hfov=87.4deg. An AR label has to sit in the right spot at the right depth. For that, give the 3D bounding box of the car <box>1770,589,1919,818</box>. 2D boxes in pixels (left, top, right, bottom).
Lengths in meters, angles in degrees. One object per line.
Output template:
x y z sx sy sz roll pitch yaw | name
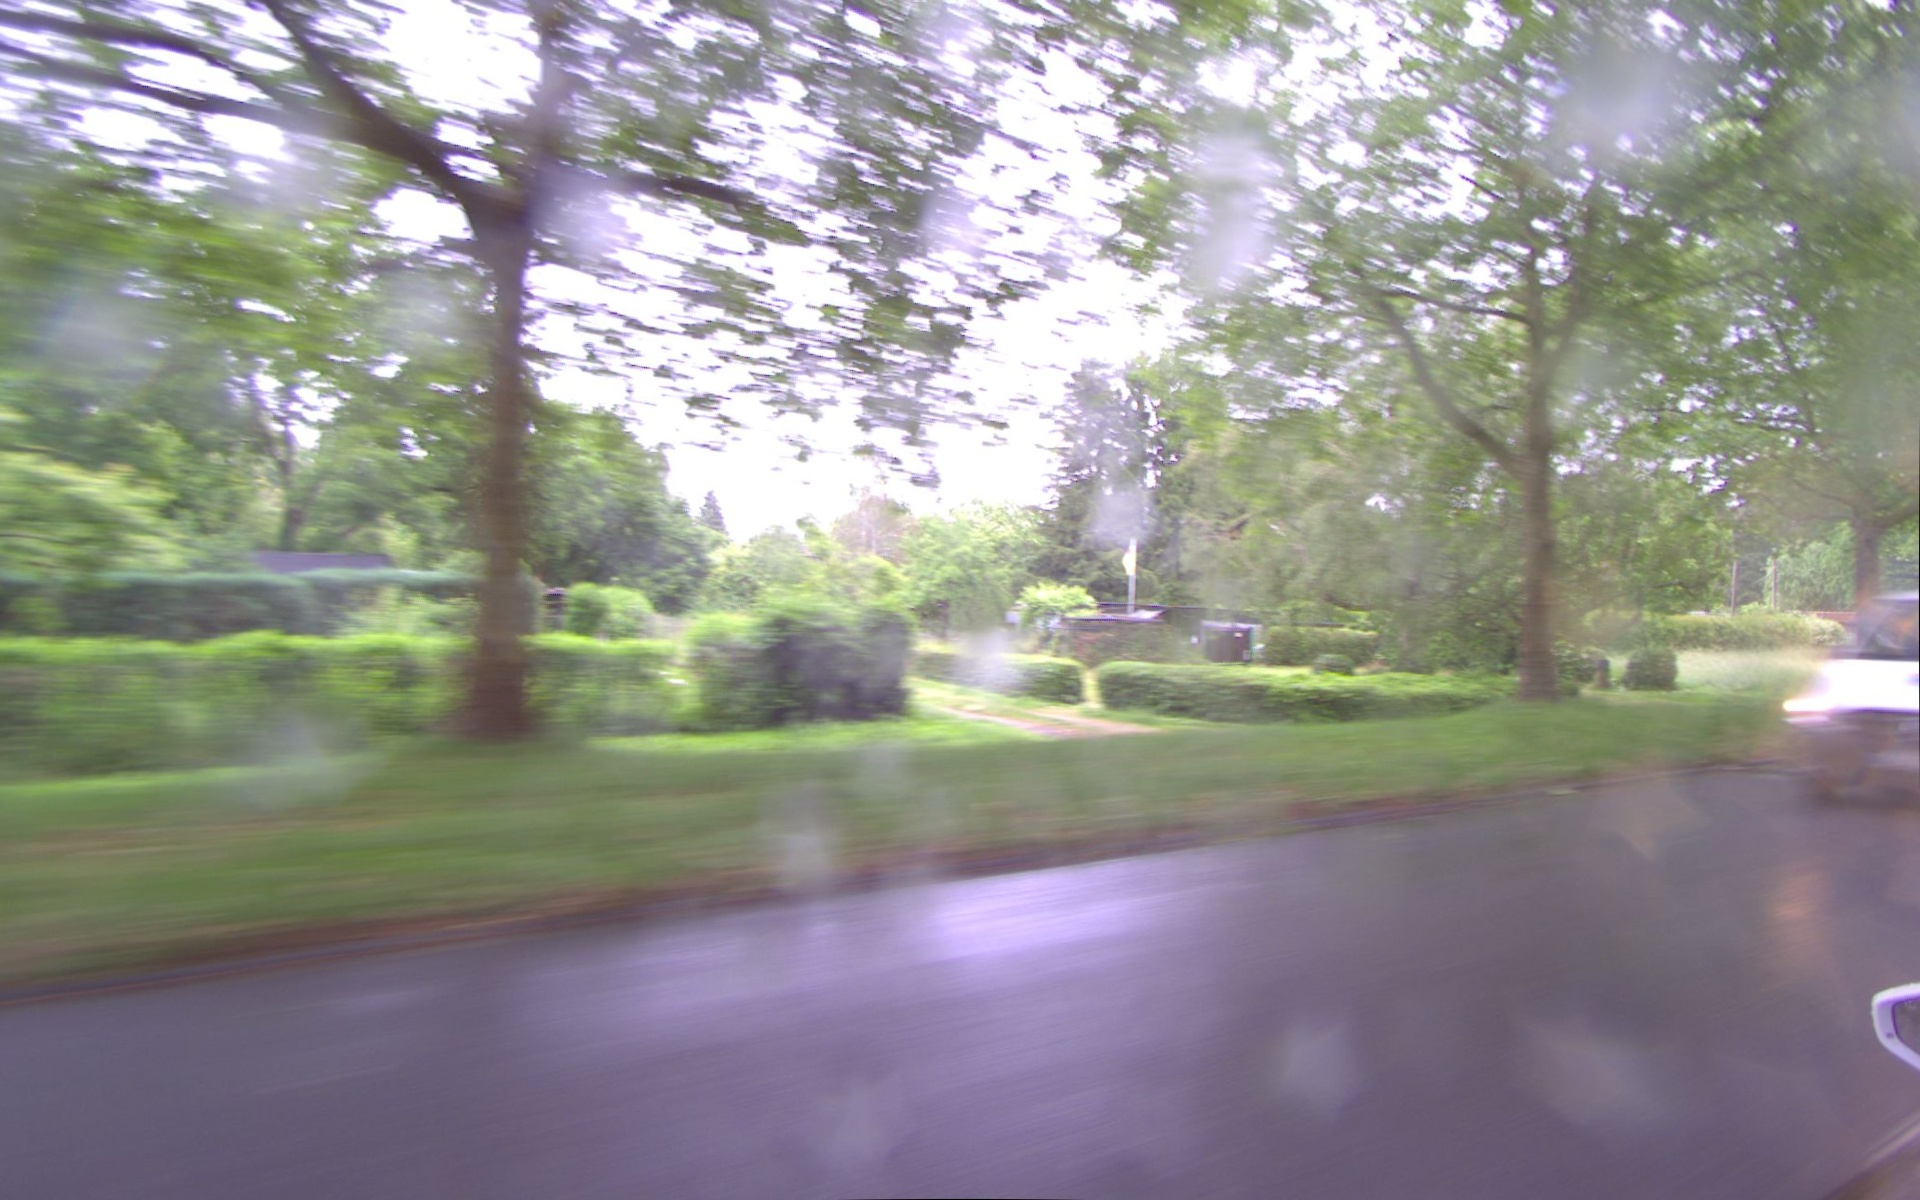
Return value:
9.527 0.849 9.121 4.959 1.773 1.853 1 -2 -32 | car
